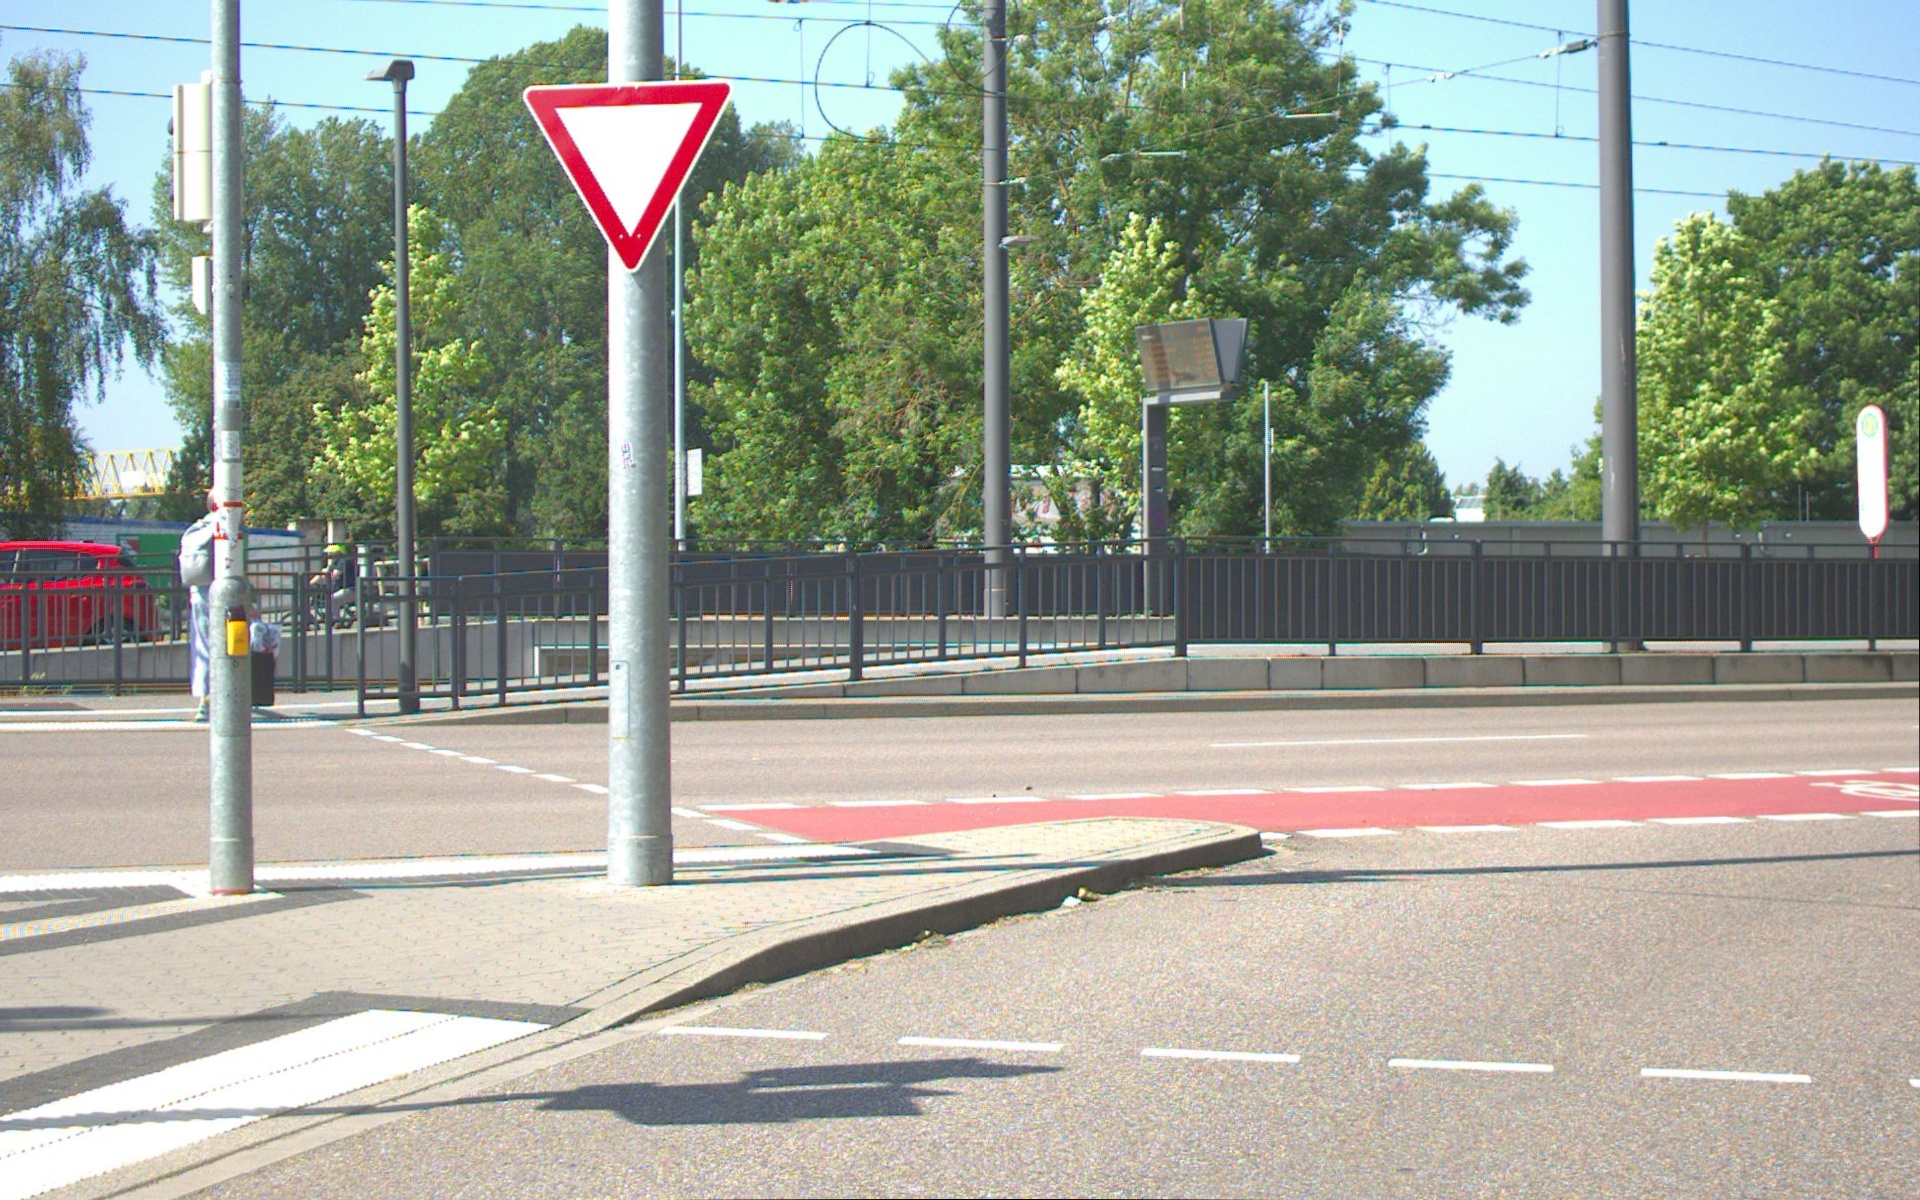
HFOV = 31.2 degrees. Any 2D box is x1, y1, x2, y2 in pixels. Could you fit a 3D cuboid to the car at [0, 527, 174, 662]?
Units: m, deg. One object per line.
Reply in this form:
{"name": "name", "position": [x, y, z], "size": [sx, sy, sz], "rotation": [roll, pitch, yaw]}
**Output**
{"name": "car", "position": [-10.837, -0.076, 37.755], "size": [3.986, 1.440, 1.747], "rotation": [0, 2, -27]}

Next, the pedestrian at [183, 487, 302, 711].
{"name": "pedestrian", "position": [-4.983, -0.025, 23.843], "size": [0.772, 1.505, 1.008], "rotation": [0, 2, -14]}
